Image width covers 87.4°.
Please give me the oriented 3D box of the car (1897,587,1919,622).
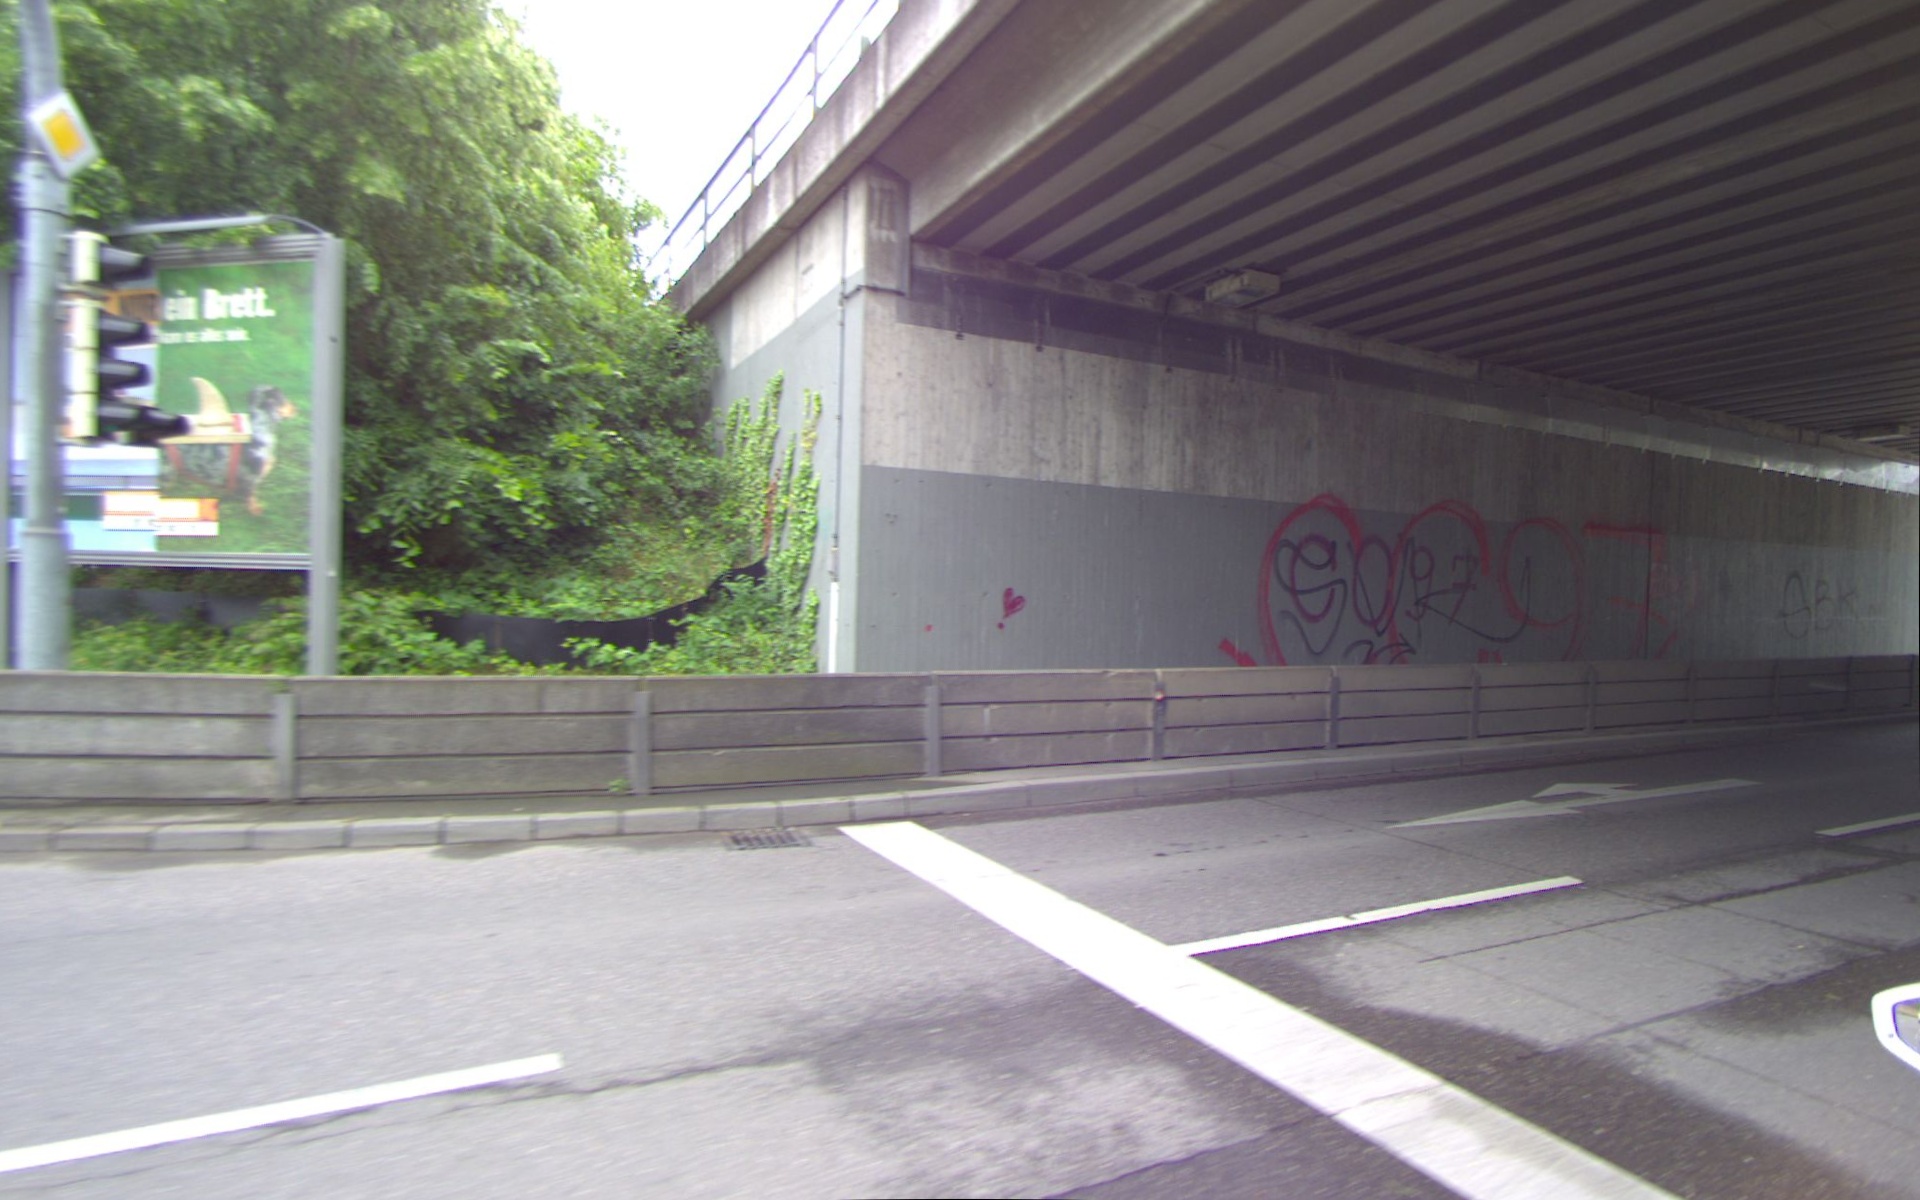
[{"bbox_3d":[46.176,0.270,46.267,1.845,1.617,3.978,1,2,-22],"label":"car"}]
